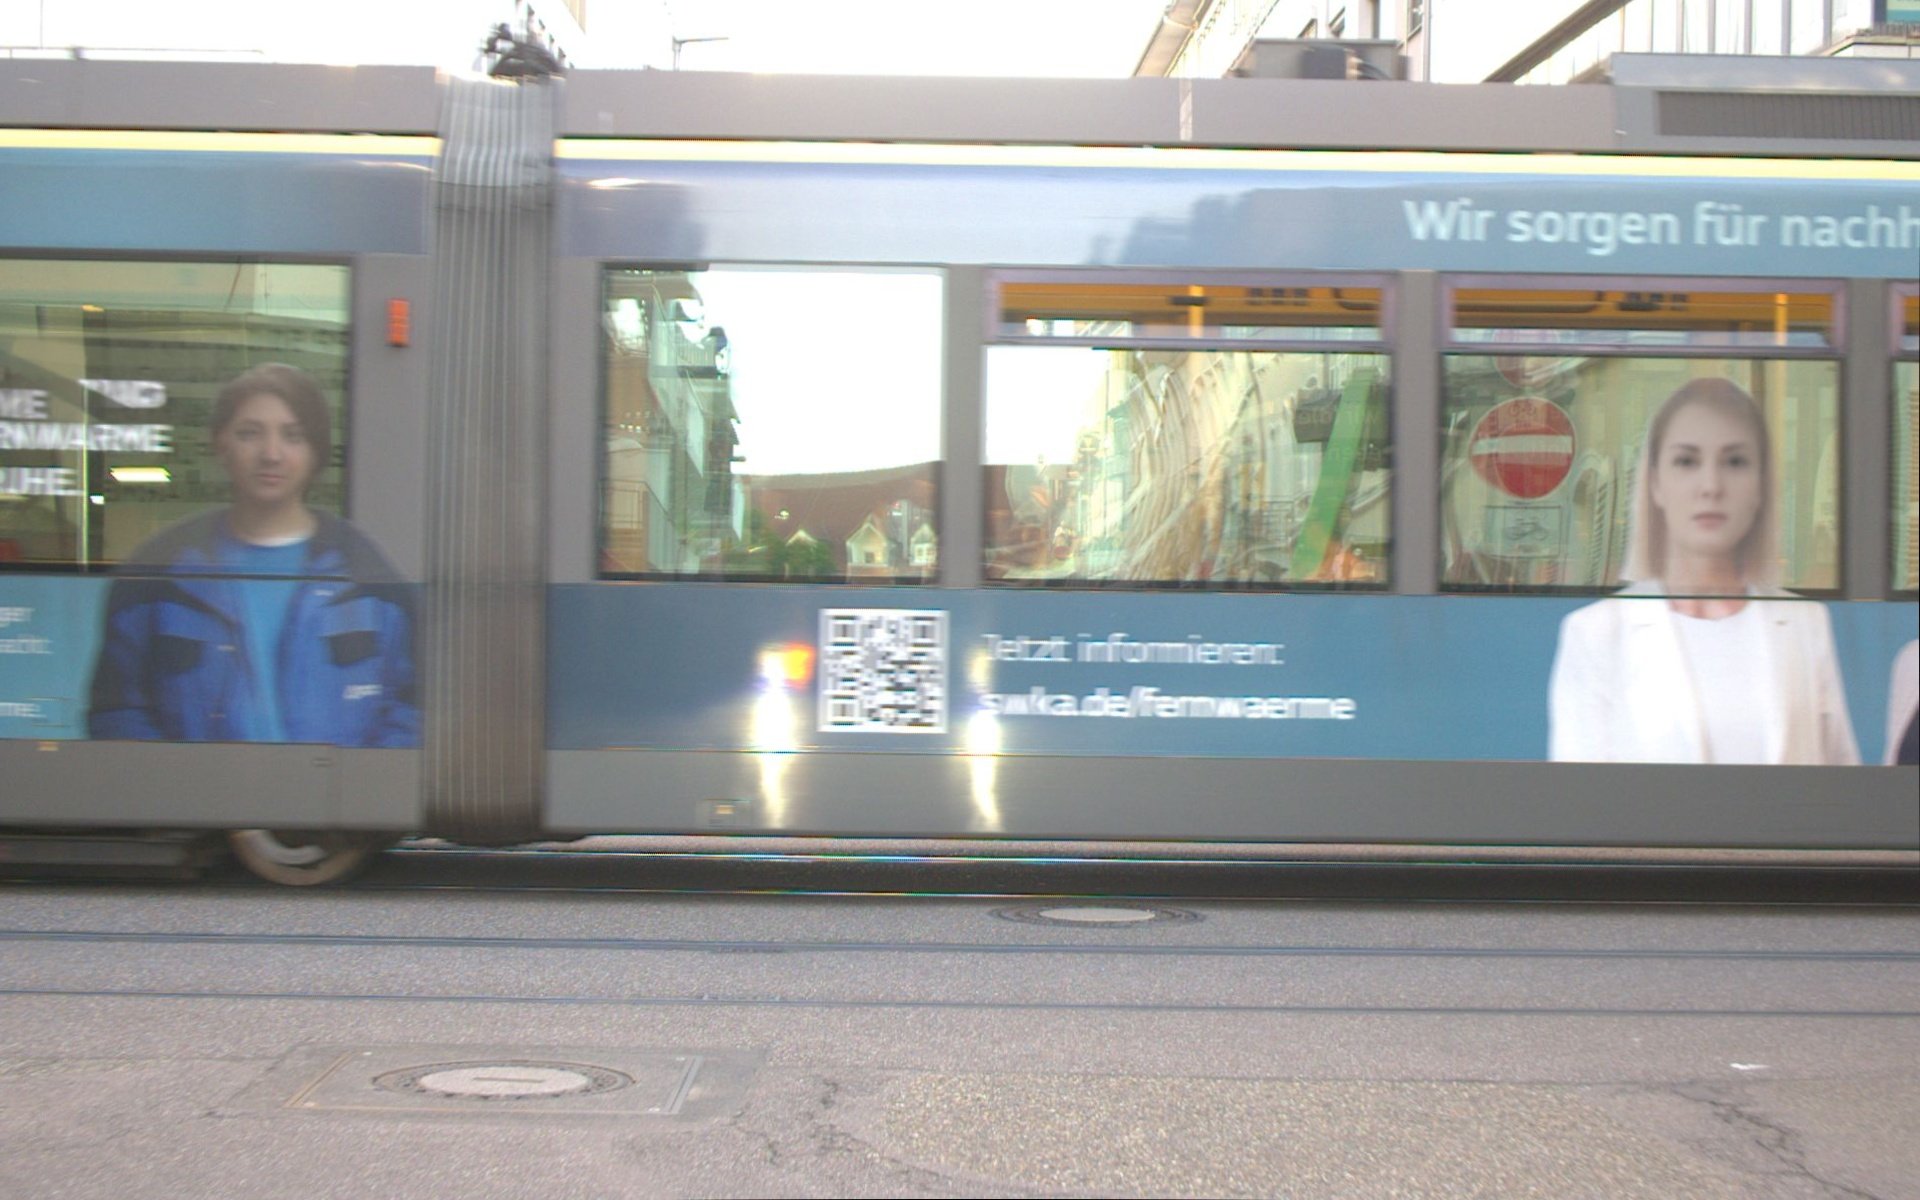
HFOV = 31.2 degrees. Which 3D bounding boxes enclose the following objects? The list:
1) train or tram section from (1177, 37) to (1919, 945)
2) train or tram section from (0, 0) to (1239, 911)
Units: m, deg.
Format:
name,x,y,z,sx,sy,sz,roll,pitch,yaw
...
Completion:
name,x,y,z,sx,sy,sz,roll,pitch,yaw
train or tram section,6.239,-0.420,14.939,10.335,3.511,3.027,0,1,-1
train or tram section,-4.140,-0.606,14.794,10.367,3.512,3.017,1,0,-1
